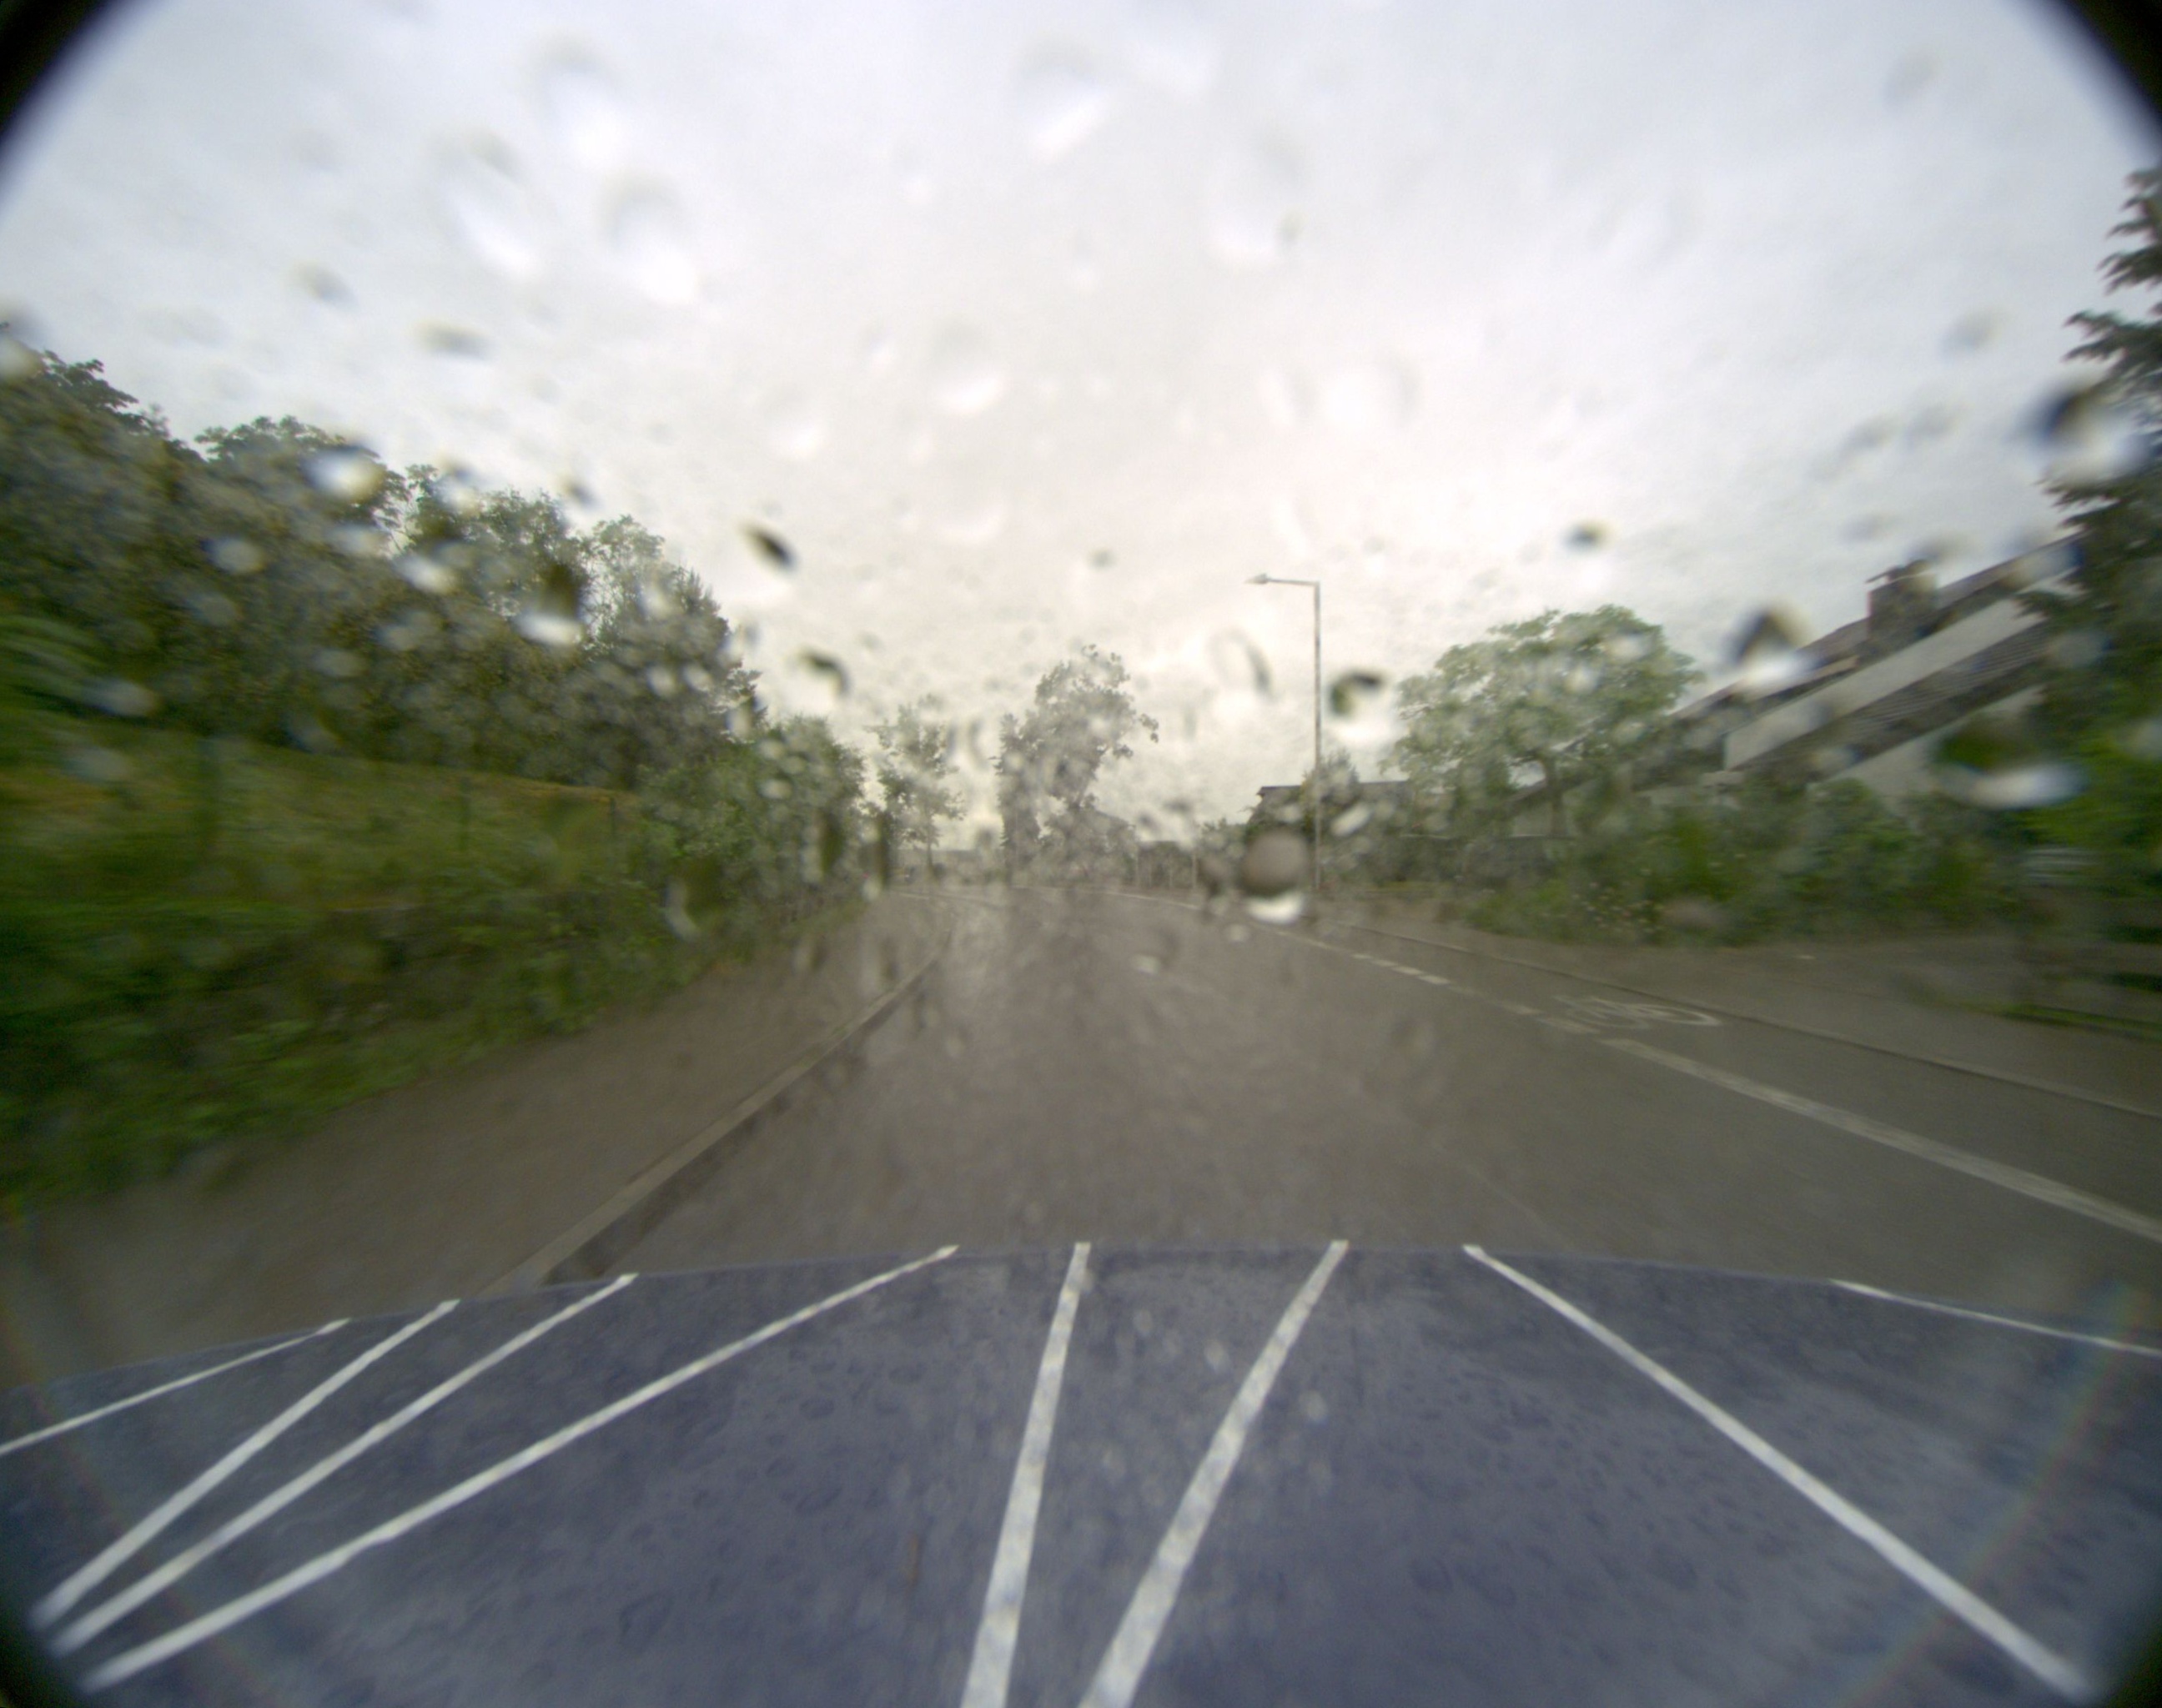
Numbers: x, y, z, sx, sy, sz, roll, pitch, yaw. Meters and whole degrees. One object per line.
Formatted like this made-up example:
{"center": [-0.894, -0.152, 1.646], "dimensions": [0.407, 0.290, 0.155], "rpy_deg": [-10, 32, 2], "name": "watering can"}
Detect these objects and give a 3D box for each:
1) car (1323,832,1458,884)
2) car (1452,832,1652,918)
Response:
{"center": [9.522, 0.125, 23.653], "dimensions": [3.735, 1.471, 1.456], "rpy_deg": [-2, 0, 16], "name": "car"}
{"center": [8.669, 0.394, 14.262], "dimensions": [3.033, 1.471, 1.457], "rpy_deg": [-2, 0, 26], "name": "car"}
